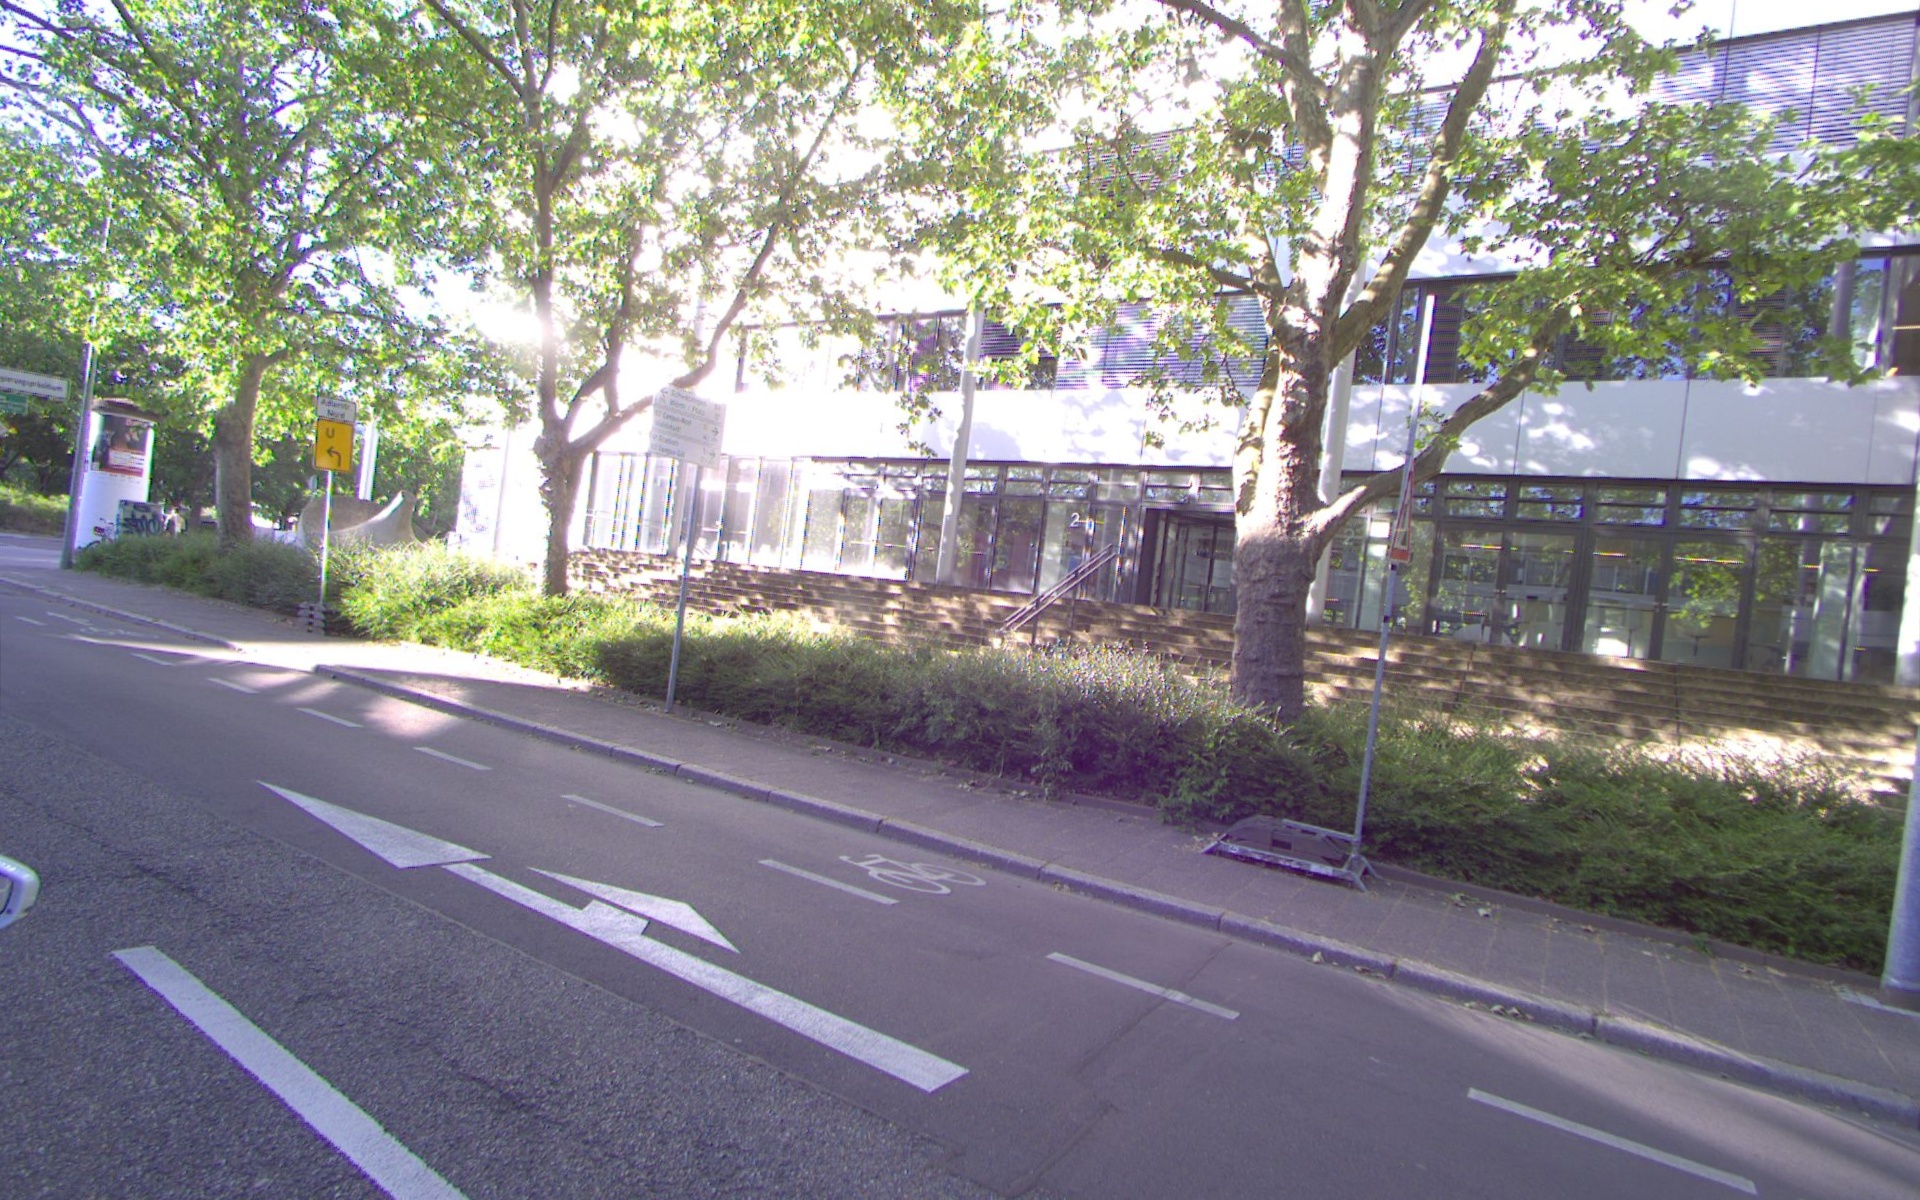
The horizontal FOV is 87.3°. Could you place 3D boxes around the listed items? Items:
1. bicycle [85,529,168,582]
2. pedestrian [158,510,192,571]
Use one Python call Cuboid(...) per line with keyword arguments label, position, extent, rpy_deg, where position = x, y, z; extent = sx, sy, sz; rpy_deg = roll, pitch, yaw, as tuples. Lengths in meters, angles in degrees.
Cuboid(label="bicycle", position=(-19.232, -1.014, 23.240), extent=(0.357, 1.036, 1.354), rpy_deg=(7, -1, 33))
Cuboid(label="pedestrian", position=(-25.401, -1.933, 32.552), extent=(0.584, 1.871, 0.552), rpy_deg=(7, 0, 33))
